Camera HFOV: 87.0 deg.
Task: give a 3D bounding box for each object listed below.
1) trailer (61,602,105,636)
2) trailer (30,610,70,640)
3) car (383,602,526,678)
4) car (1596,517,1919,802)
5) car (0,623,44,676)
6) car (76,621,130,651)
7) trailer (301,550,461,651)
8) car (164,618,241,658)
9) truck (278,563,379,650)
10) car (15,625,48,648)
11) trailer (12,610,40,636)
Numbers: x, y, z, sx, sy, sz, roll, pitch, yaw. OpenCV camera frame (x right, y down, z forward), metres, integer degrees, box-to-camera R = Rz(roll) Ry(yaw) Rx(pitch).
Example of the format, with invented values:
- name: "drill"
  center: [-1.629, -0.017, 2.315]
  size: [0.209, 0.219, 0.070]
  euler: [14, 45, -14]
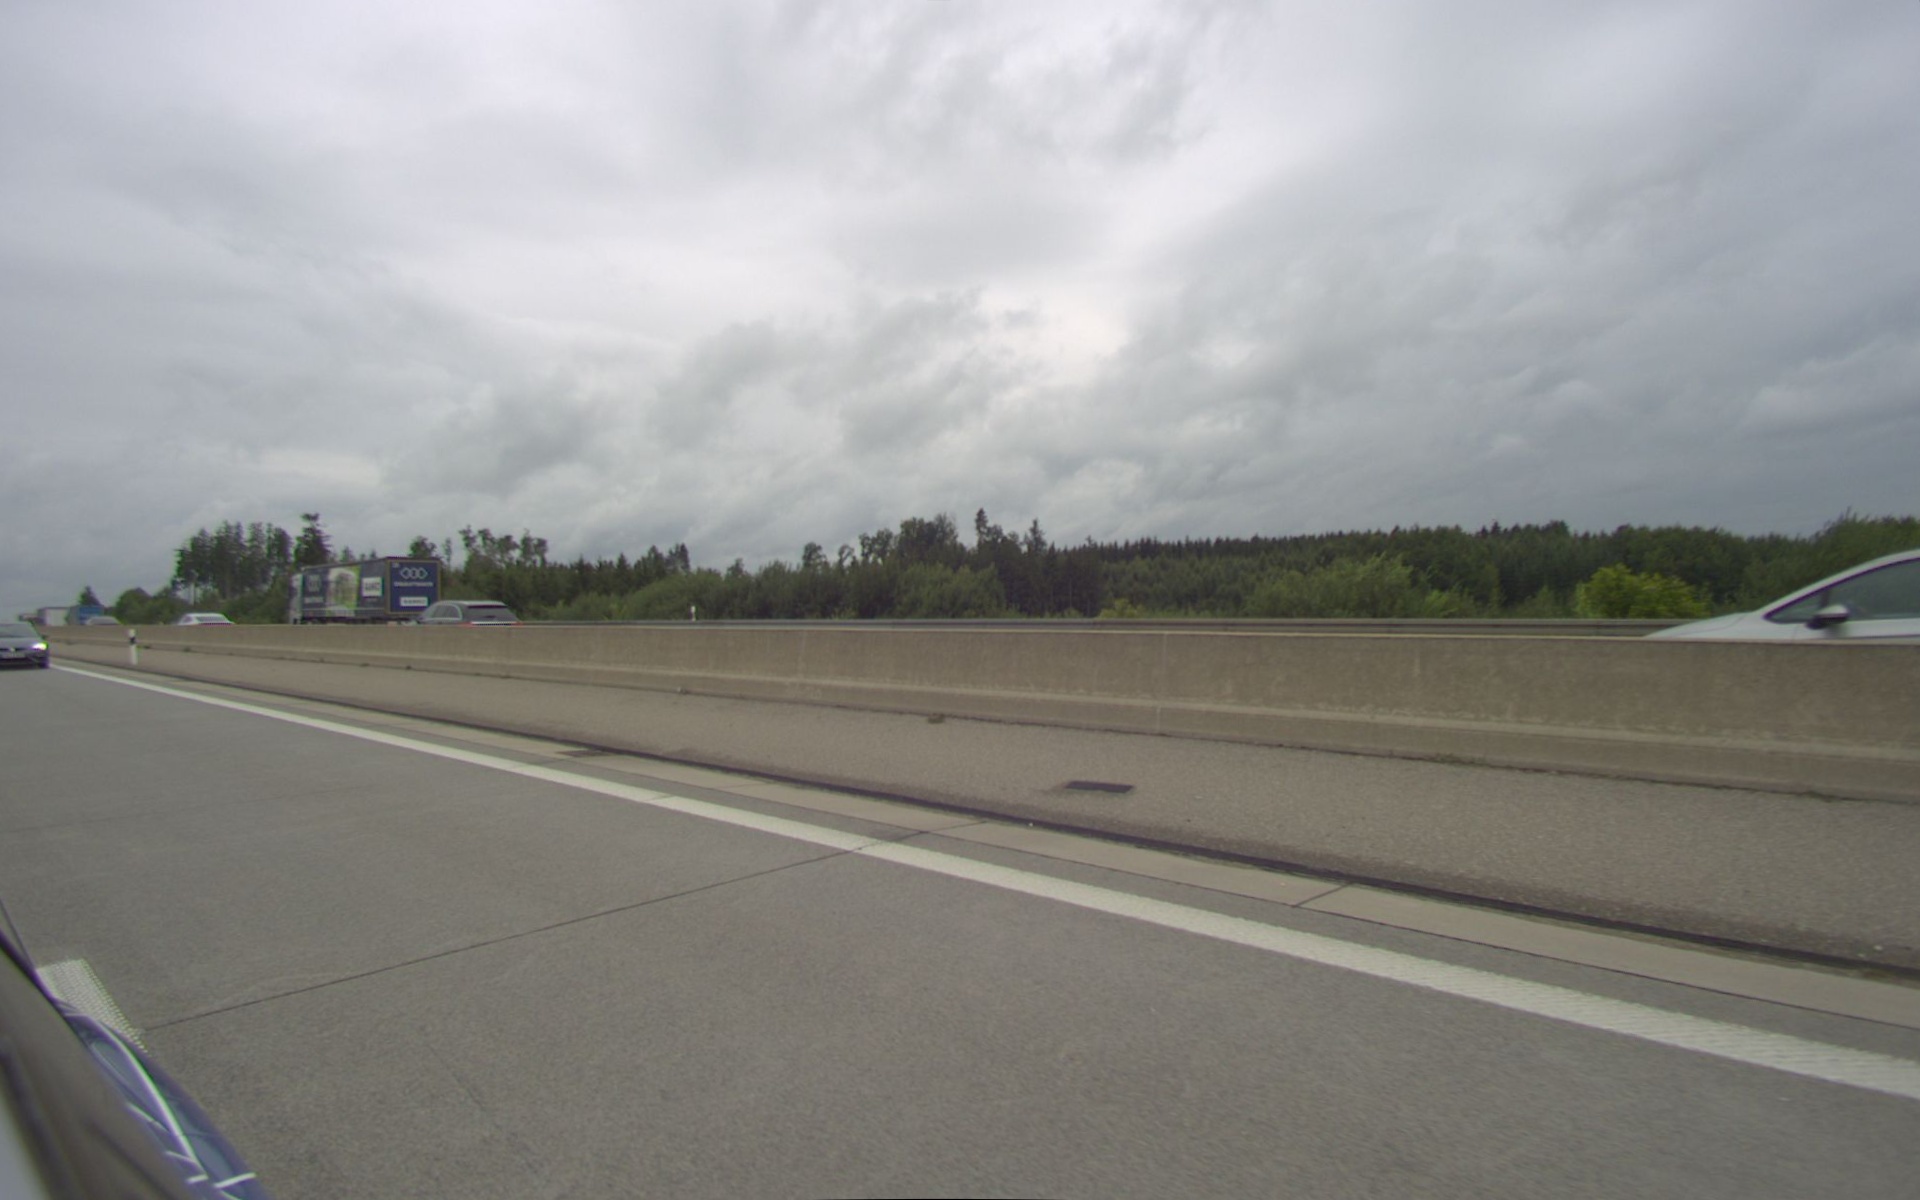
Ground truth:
- name: "trailer"
  center: [-108.617, 2.409, 125.233]
  size: [12.399, 3.866, 2.818]
  euler: [-2, -1, 43]
- name: "trailer"
  center: [-137.401, 3.856, 152.731]
  size: [12.930, 4.233, 3.445]
  euler: [-2, -1, 44]
- name: "car"
  center: [-12.998, 0.996, 25.905]
  size: [4.427, 1.779, 1.725]
  euler: [-2, -1, 42]
- name: "car"
  center: [7.731, 0.409, 7.622]
  size: [4.724, 2.029, 1.782]
  euler: [-2, -1, 41]
- name: "car"
  center: [-28.988, 1.475, 30.400]
  size: [4.570, 1.492, 1.766]
  euler: [-2, -1, 42]
- name: "car"
  center: [-53.619, 2.252, 63.312]
  size: [4.525, 1.752, 1.972]
  euler: [-2, -1, 42]
- name: "trailer"
  center: [-31.216, 0.213, 54.137]
  size: [12.904, 4.836, 3.560]
  euler: [-2, -1, 42]
- name: "car"
  center: [-34.539, 1.717, 46.106]
  size: [4.525, 1.675, 1.972]
  euler: [-2, -1, 42]
- name: "truck"
  center: [-37.223, 0.437, 59.596]
  size: [5.867, 4.856, 3.549]
  euler: [-2, -1, 42]
- name: "car"
  center: [-89.802, 3.517, 97.876]
  size: [4.862, 2.163, 1.972]
  euler: [-2, -1, 43]
- name: "trailer"
  center: [-171.352, 4.248, 185.570]
  size: [13.639, 4.660, 2.884]
  euler: [-2, -1, 44]
